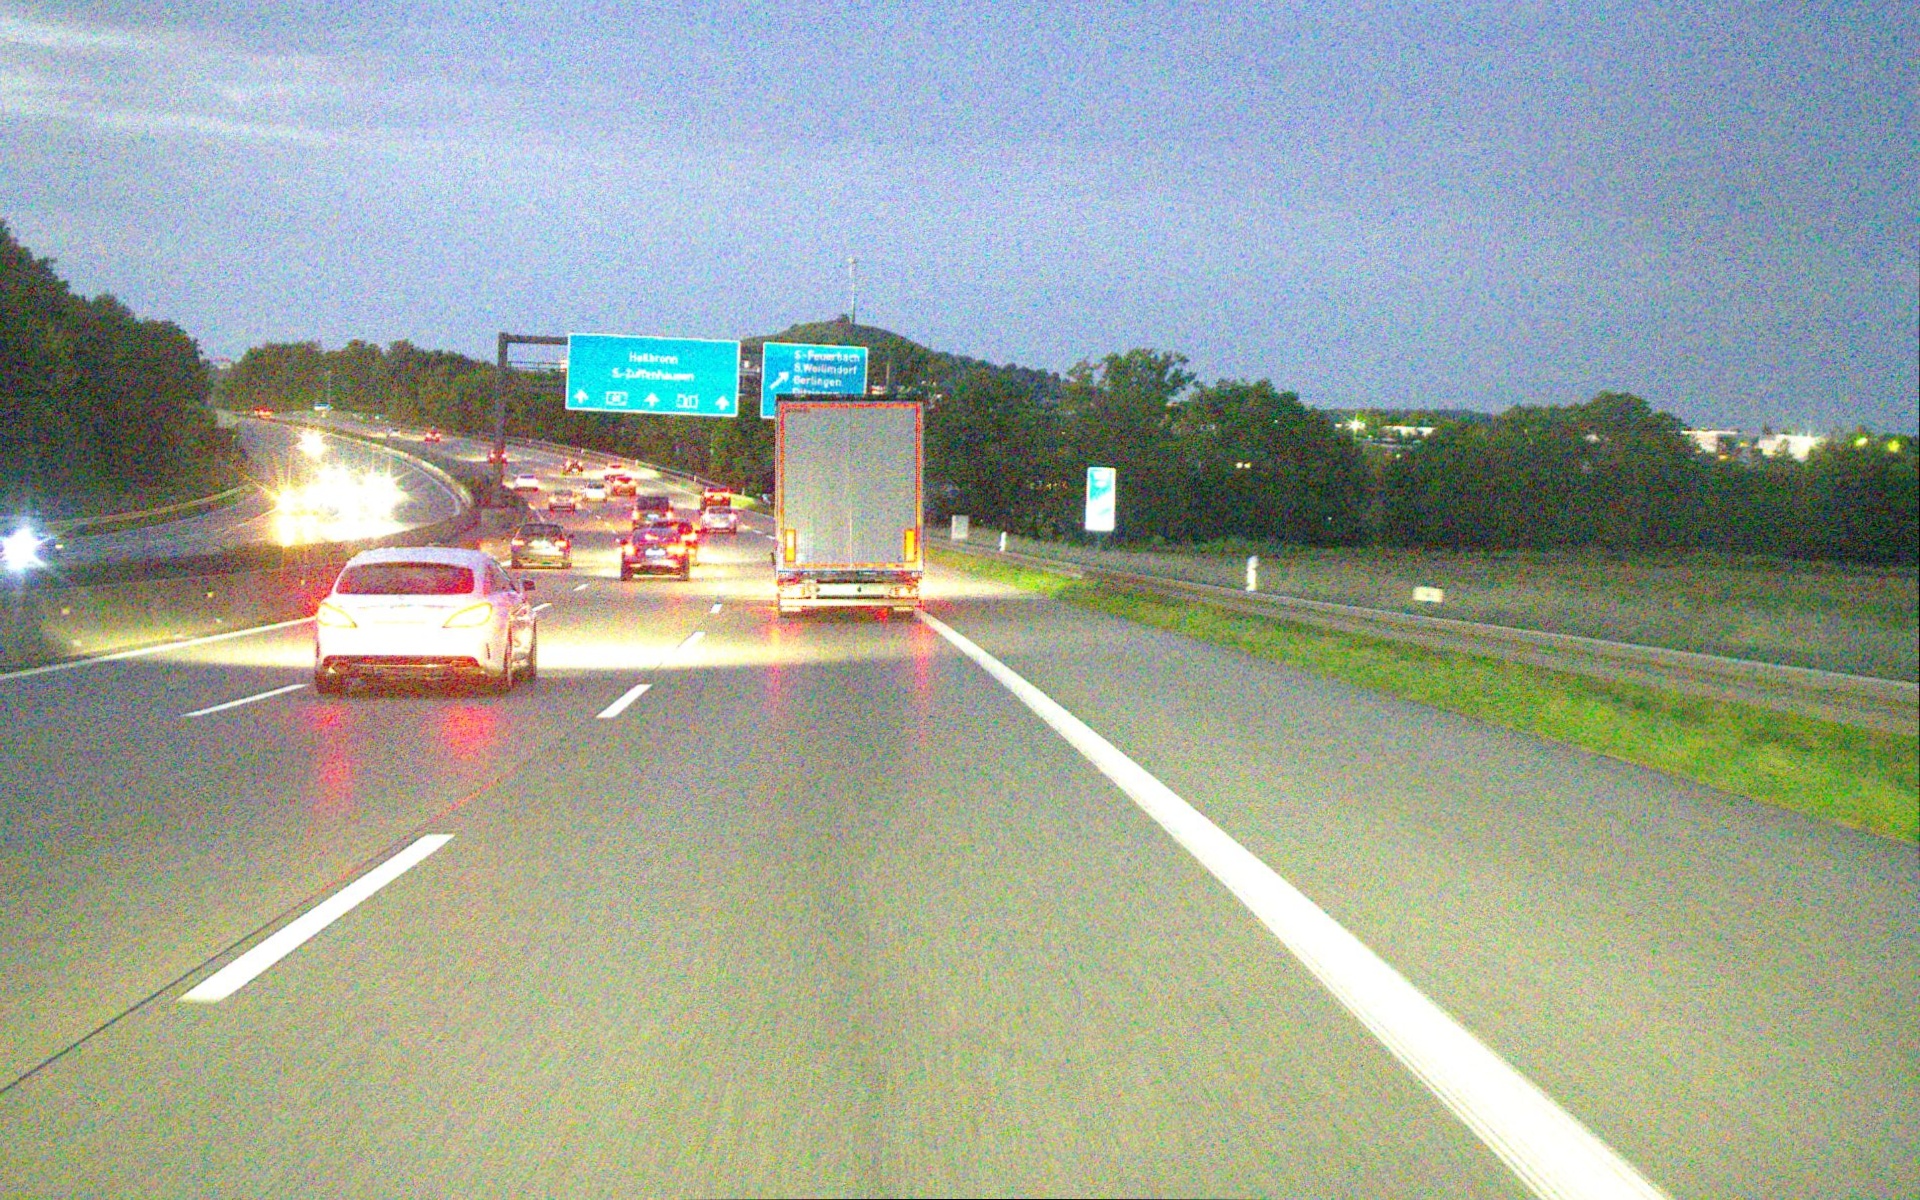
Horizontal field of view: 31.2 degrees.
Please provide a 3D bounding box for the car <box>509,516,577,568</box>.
[{"bbox_3d":[-13.153,-1.829,108.613,1.761,1.569,4.577,1,1,-3],"label":"car"}]

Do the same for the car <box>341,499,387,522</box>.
[{"bbox_3d":[-34.317,-5.146,197.930,2.059,1.221,5.235,1,1,-4],"label":"car"}]

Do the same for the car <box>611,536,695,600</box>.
[{"bbox_3d":[-8.421,-0.880,94.702,2.065,1.680,4.577,1,1,-2],"label":"car"}]

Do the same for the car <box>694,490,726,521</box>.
[{"bbox_3d":[-16.875,-6.345,231.682,1.993,1.971,4.001,1,1,-6],"label":"car"}]

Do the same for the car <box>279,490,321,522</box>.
[{"bbox_3d":[-40.253,-5.721,209.739,1.993,1.887,5.059,1,1,-5],"label":"car"}]

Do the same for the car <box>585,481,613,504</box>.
[{"bbox_3d":[-27.054,-8.014,257.575,1.993,1.616,4.001,1,1,-7],"label":"car"}]

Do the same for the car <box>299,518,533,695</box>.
[{"bbox_3d":[-5.369,0.028,34.472,1.906,1.609,4.804,1,1,-4],"label":"car"}]

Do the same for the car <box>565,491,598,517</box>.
[{"bbox_3d":[-25.143,-6.355,228.534,1.993,1.616,4.001,1,1,-4],"label":"car"}]

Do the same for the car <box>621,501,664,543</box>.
[{"bbox_3d":[-15.591,-3.813,168.849,1.993,2.007,4.001,1,1,-5],"label":"car"}]

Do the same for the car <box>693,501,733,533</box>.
[{"bbox_3d":[-12.559,-4.204,174.927,1.993,1.529,4.001,1,1,-4],"label":"car"}]

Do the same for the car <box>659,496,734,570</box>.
[{"bbox_3d":[-8.778,-2.229,114.167,1.993,2.372,4.001,1,1,-11],"label":"car"}]

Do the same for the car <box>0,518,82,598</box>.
[{"bbox_3d":[-22.935,-1.035,83.619,1.912,1.861,6.016,1,1,-3],"label":"car"}]

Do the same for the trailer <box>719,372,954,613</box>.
[{"bbox_3d":[-2.650,-1.911,66.873,3.549,4.102,15.066,1,0,-6],"label":"trailer"}]

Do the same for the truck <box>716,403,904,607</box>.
[{"bbox_3d":[-3.255,-1.950,72.935,3.550,4.077,6.152,1,0,-6],"label":"truck"}]
